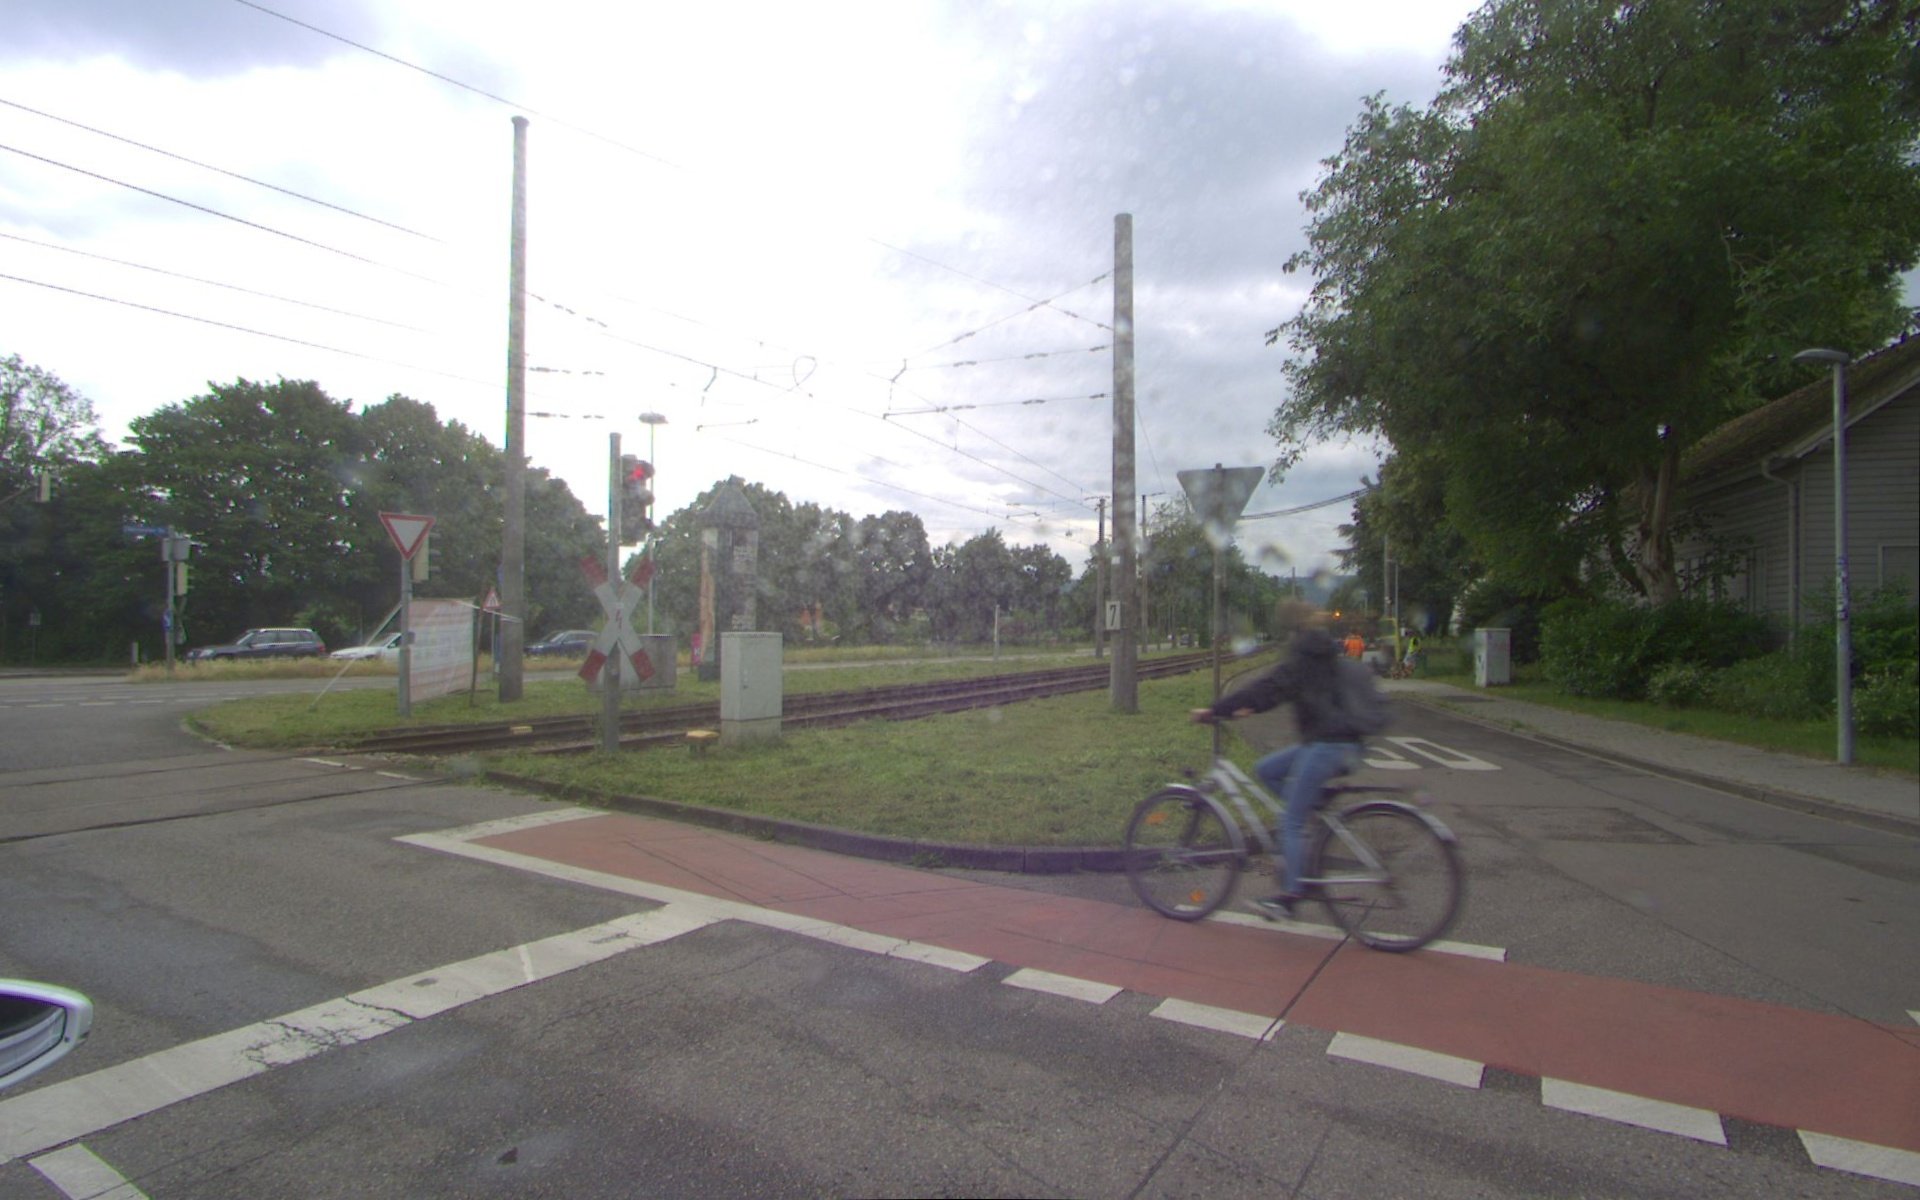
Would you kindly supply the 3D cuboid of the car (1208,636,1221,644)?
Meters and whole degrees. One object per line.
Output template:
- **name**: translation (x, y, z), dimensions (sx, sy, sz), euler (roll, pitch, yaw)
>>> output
- **car**: translation (42.171, 6.625, 166.159), dimensions (1.963, 1.460, 3.997), euler (-1, -2, 16)

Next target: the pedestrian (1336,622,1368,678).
- **pedestrian**: translation (13.487, 1.720, 34.458), dimensions (0.862, 1.878, 0.676), euler (1, -1, 34)

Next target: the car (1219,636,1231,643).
- **car**: translation (49.068, 7.303, 185.275), dimensions (1.963, 1.460, 3.997), euler (-1, -2, 16)

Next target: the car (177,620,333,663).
- **car**: translation (-26.527, 1.548, 37.833), dimensions (1.820, 1.523, 4.456), euler (0, -2, 33)

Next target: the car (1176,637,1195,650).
- **car**: translation (30.678, 5.901, 136.410), dimensions (1.966, 1.743, 3.992), euler (-1, -2, 21)

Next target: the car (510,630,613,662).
- **car**: translation (-19.331, 2.217, 48.735), dimensions (1.820, 1.458, 4.456), euler (0, -2, 33)

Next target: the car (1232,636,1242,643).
- **car**: translation (56.061, 7.924, 202.828), dimensions (1.963, 1.460, 3.997), euler (-1, -2, 16)

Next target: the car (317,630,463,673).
- **car**: translation (-19.694, 1.766, 34.784), dimensions (1.624, 1.374, 4.129), euler (0, -2, 33)

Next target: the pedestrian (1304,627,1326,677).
- **pedestrian**: translation (13.368, 1.952, 37.732), dimensions (0.757, 1.892, 0.604), euler (0, -1, 17)

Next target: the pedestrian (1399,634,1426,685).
- **pedestrian**: translation (16.604, 2.181, 36.758), dimensions (0.598, 1.864, 0.712), euler (1, -1, -13)

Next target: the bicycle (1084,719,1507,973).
- **bicycle**: translation (1.622, 1.159, 5.085), dimensions (2.001, 0.993, 0.382), euler (-1, -2, 32)

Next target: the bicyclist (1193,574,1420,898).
- **bicyclist**: translation (1.737, 0.640, 4.998), dimensions (0.947, 1.441, 0.621), euler (-1, -5, 32)
